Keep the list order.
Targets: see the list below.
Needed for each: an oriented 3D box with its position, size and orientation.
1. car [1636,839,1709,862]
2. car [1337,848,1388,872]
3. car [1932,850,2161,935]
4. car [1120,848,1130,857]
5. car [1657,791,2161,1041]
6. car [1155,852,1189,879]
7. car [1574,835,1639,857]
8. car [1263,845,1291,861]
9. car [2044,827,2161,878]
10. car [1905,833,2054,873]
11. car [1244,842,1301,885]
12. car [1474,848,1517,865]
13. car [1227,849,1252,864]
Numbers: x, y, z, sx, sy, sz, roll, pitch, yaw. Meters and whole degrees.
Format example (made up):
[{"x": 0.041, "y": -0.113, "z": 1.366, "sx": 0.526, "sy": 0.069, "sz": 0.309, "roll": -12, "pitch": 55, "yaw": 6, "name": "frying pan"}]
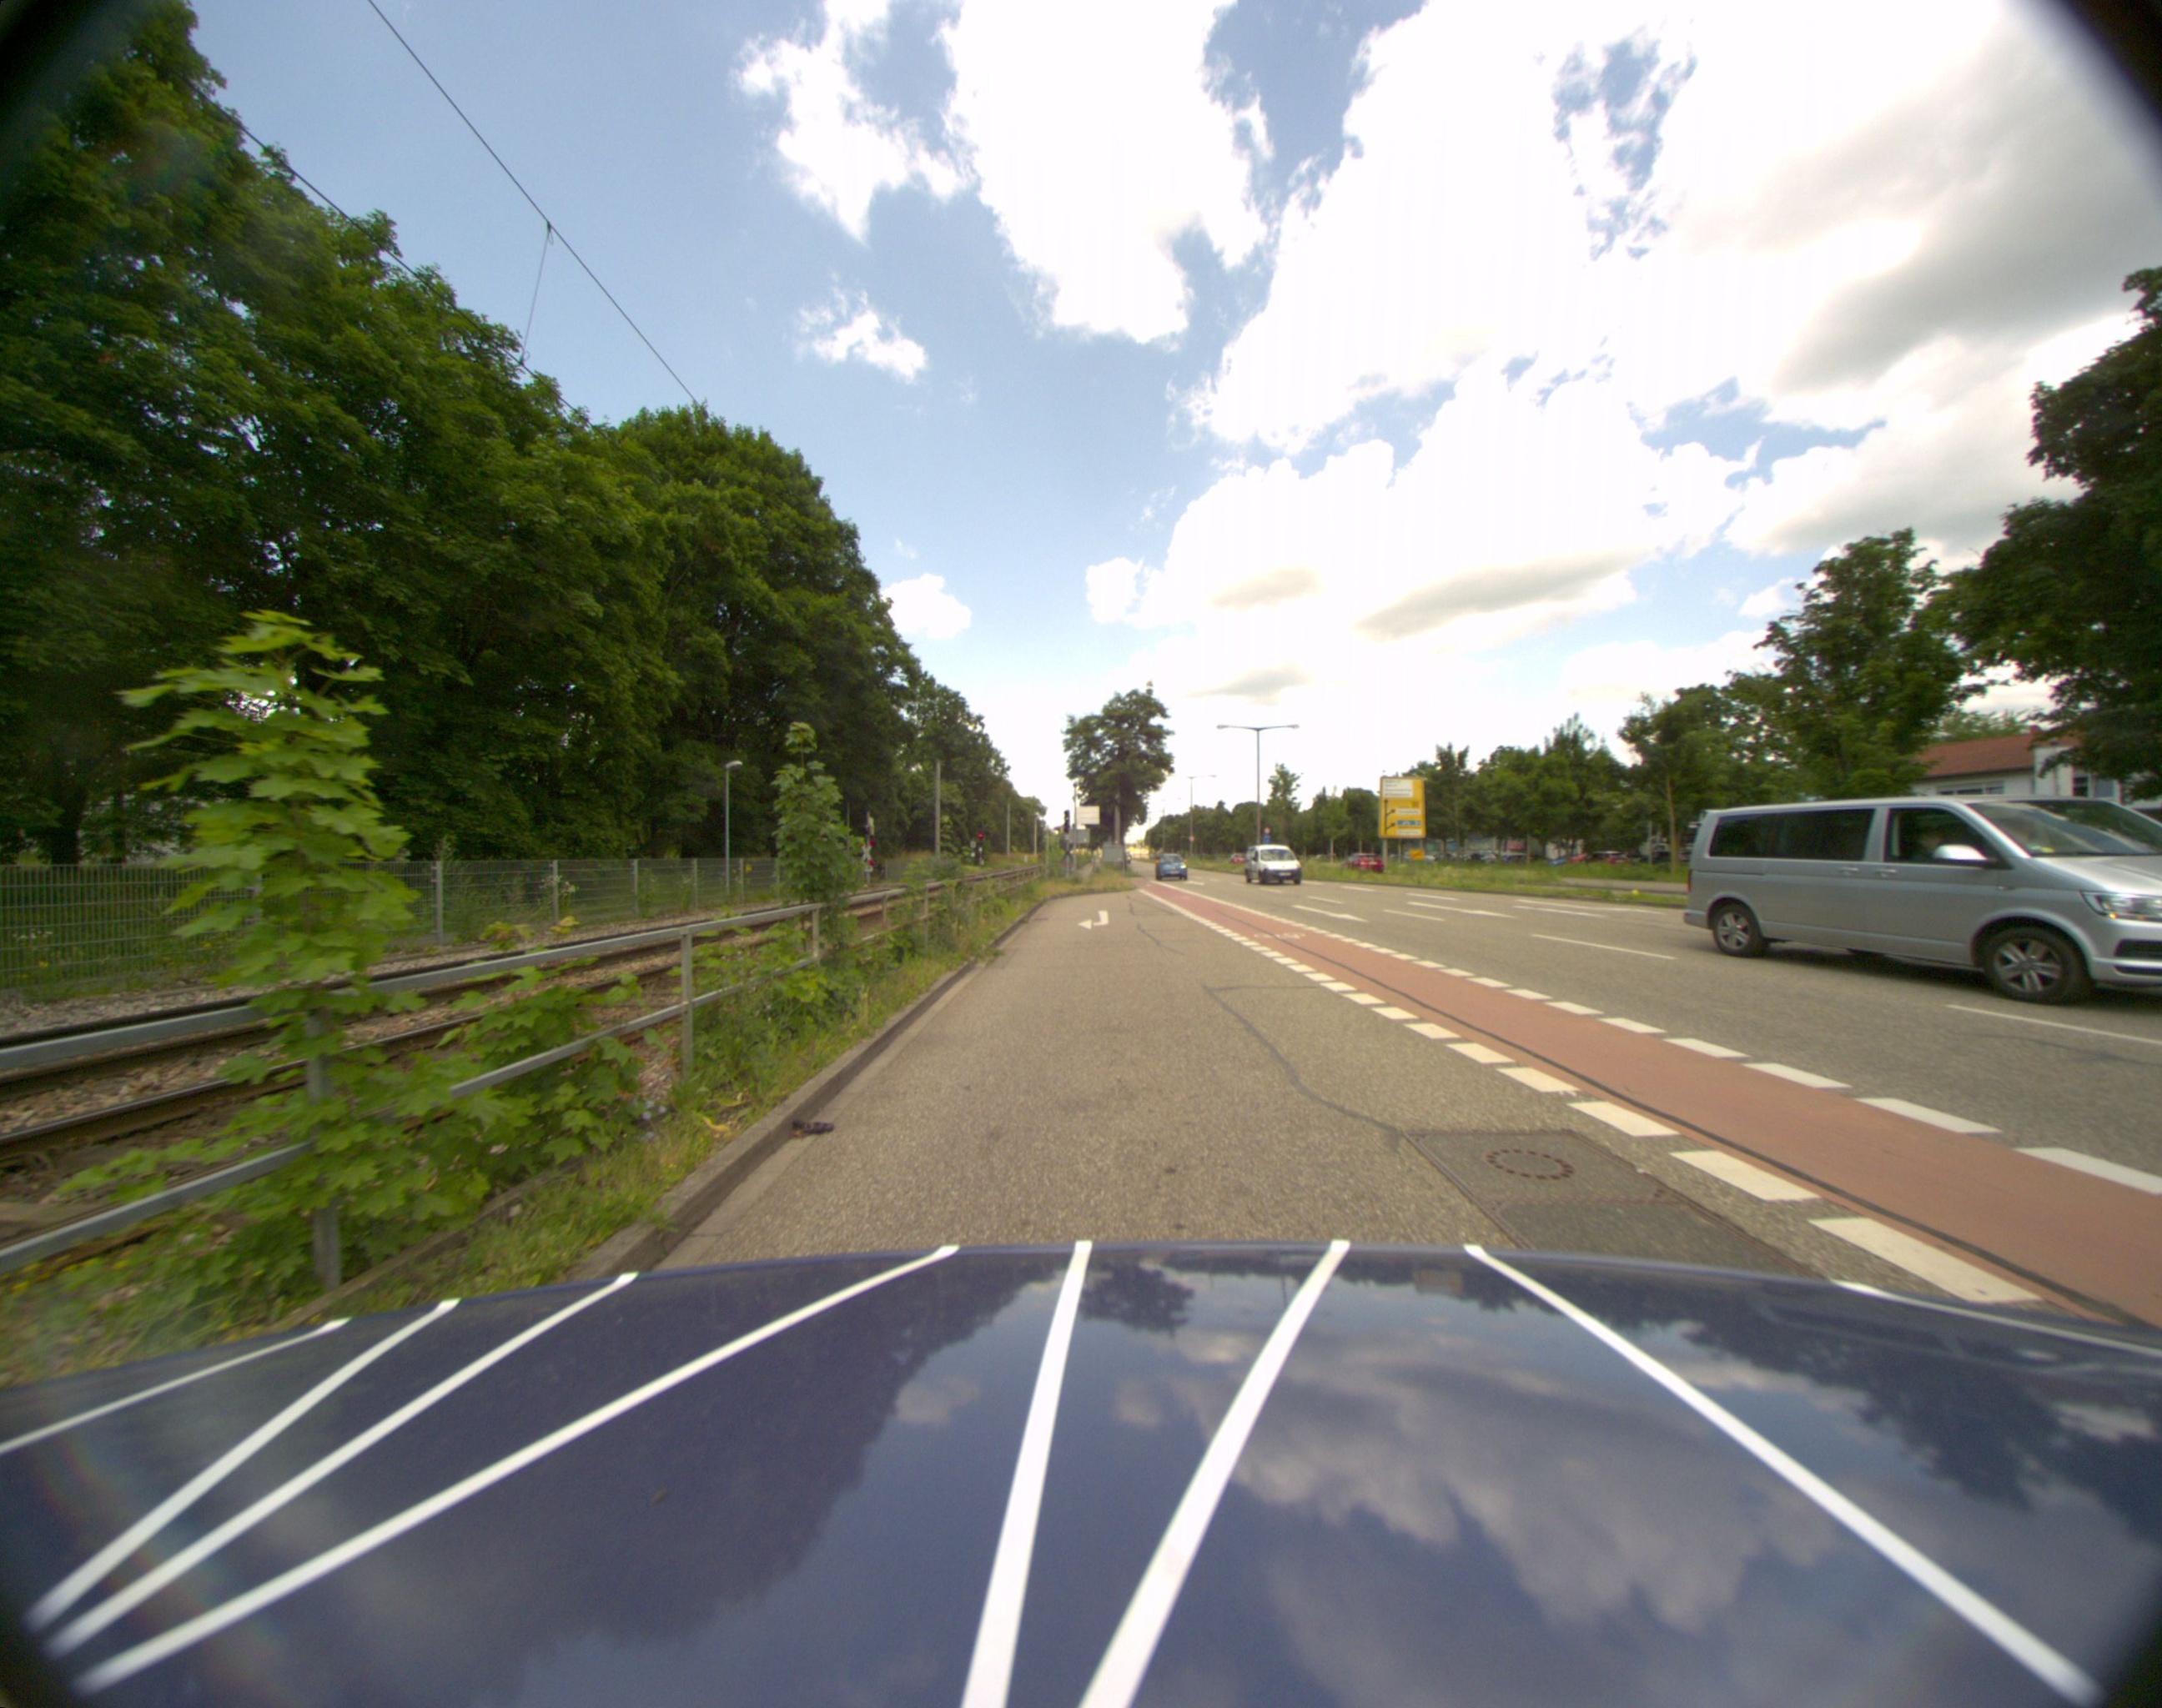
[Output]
[{"x": 37.437, "y": -0.233, "z": 48.216, "sx": 1.729, "sy": 1.403, "sz": 3.866, "roll": 0, "pitch": 0, "yaw": 2, "name": "car"}, {"x": 18.804, "y": 0.372, "z": 50.921, "sx": 1.892, "sy": 1.503, "sz": 3.999, "roll": -1, "pitch": 1, "yaw": -1, "name": "car"}, {"x": 19.046, "y": 0.647, "z": 13.962, "sx": 1.804, "sy": 1.423, "sz": 4.496, "roll": 0, "pitch": 0, "yaw": 1, "name": "car"}, {"x": 7.942, "y": -0.205, "z": 136.010, "sx": 1.726, "sy": 1.604, "sz": 4.000, "roll": 0, "pitch": 1, "yaw": 3, "name": "car"}, {"x": 9.144, "y": 0.454, "z": 8.230, "sx": 1.818, "sy": 1.907, "sz": 5.231, "roll": 0, "pitch": 1, "yaw": 0, "name": "car"}, {"x": 5.147, "y": 0.620, "z": 43.183, "sx": 1.604, "sy": 1.455, "sz": 3.703, "roll": 1, "pitch": 0, "yaw": 2, "name": "car"}, {"x": 37.635, "y": -0.561, "z": 54.582, "sx": 1.998, "sy": 1.578, "sz": 4.023, "roll": 0, "pitch": 0, "yaw": 2, "name": "car"}, {"x": 18.089, "y": -0.084, "z": 70.288, "sx": 1.615, "sy": 1.436, "sz": 3.593, "roll": -2, "pitch": 1, "yaw": -1, "name": "car"}, {"x": 37.029, "y": -0.051, "z": 26.051, "sx": 1.887, "sy": 1.701, "sz": 4.930, "roll": 0, "pitch": 0, "yaw": 2, "name": "car"}, {"x": 37.420, "y": -0.047, "z": 31.798, "sx": 1.921, "sy": 1.578, "sz": 3.666, "roll": 0, "pitch": 0, "yaw": 2, "name": "car"}, {"x": 8.641, "y": 0.394, "z": 34.583, "sx": 1.746, "sy": 1.775, "sz": 4.157, "roll": -1, "pitch": 0, "yaw": 3, "name": "car"}, {"x": 38.862, "y": 0.227, "z": 71.325, "sx": 1.998, "sy": 1.578, "sz": 4.023, "roll": 0, "pitch": 0, "yaw": 2, "name": "car"}, {"x": 17.306, "y": 0.249, "z": 83.046, "sx": 1.998, "sy": 1.608, "sz": 4.000, "roll": 0, "pitch": 0, "yaw": 2, "name": "car"}]
